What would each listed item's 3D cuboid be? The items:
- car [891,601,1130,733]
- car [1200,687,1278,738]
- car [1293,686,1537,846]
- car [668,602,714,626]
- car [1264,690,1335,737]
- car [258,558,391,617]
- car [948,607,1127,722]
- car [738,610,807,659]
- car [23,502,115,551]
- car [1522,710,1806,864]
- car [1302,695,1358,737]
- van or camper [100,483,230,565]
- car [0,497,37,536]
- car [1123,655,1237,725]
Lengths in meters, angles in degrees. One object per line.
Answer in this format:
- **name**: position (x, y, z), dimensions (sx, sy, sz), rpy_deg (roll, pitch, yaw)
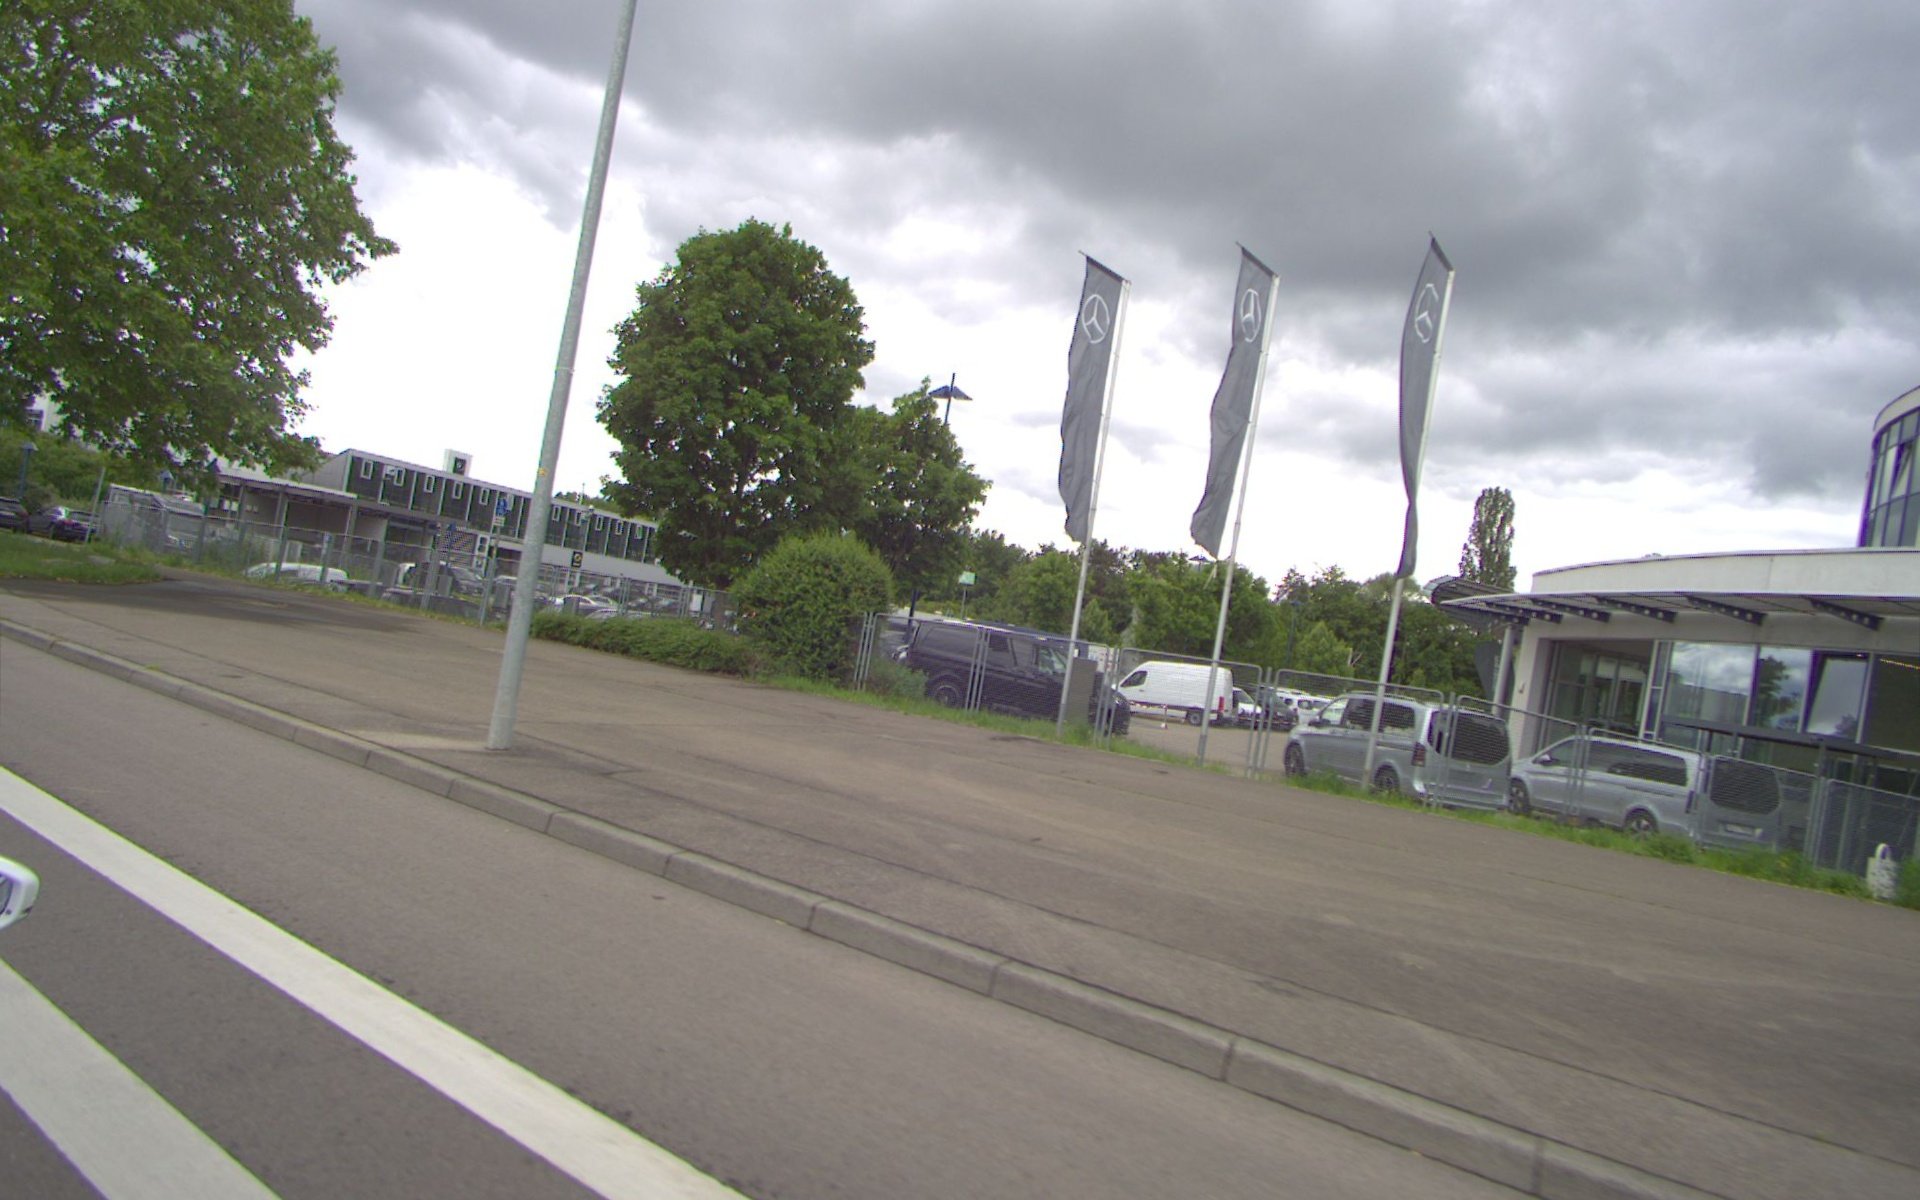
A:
- **car**: position (1.007, 1.416, 21.722), dimensions (4.711, 2.048, 2.001), rpy_deg (8, -2, -2)
- **car**: position (14.282, 5.762, 51.379), dimensions (1.974, 2.035, 3.985), rpy_deg (7, -4, 44)
- **car**: position (7.933, 2.829, 18.035), dimensions (1.966, 2.048, 3.997), rpy_deg (8, -2, -7)
- **car**: position (-23.690, 1.235, 88.722), dimensions (1.598, 1.545, 3.644), rpy_deg (7, -3, 36)
- **car**: position (18.799, 6.295, 55.631), dimensions (1.974, 2.035, 3.985), rpy_deg (7, -4, 44)
- **car**: position (-23.670, -0.433, 37.596), dimensions (1.662, 1.636, 3.747), rpy_deg (7, -3, 26)
- **car**: position (2.000, 1.716, 27.028), dimensions (4.347, 2.352, 2.001), rpy_deg (8, -1, -1)
- **car**: position (-11.887, 2.237, 64.008), dimensions (1.705, 2.596, 4.111), rpy_deg (7, -2, 31)
- **car**: position (-38.789, -3.223, 43.771), dimensions (4.272, 1.524, 1.716), rpy_deg (7, -4, 32)
- **car**: position (12.844, 3.340, 18.717), dimensions (1.966, 1.978, 3.997), rpy_deg (8, -2, -7)
- **car**: position (22.382, 7.019, 60.749), dimensions (1.969, 2.035, 3.994), rpy_deg (8, -3, 36)
- **van or camper**: position (-36.161, -3.481, 45.690), dimensions (6.801, 2.902, 1.970), rpy_deg (7, -1, 29)
- **car**: position (-39.917, -3.602, 41.355), dimensions (4.272, 1.370, 1.714), rpy_deg (7, -2, 32)
- **car**: position (9.779, 3.997, 44.698), dimensions (4.351, 2.340, 2.010), rpy_deg (4, -13, 27)
